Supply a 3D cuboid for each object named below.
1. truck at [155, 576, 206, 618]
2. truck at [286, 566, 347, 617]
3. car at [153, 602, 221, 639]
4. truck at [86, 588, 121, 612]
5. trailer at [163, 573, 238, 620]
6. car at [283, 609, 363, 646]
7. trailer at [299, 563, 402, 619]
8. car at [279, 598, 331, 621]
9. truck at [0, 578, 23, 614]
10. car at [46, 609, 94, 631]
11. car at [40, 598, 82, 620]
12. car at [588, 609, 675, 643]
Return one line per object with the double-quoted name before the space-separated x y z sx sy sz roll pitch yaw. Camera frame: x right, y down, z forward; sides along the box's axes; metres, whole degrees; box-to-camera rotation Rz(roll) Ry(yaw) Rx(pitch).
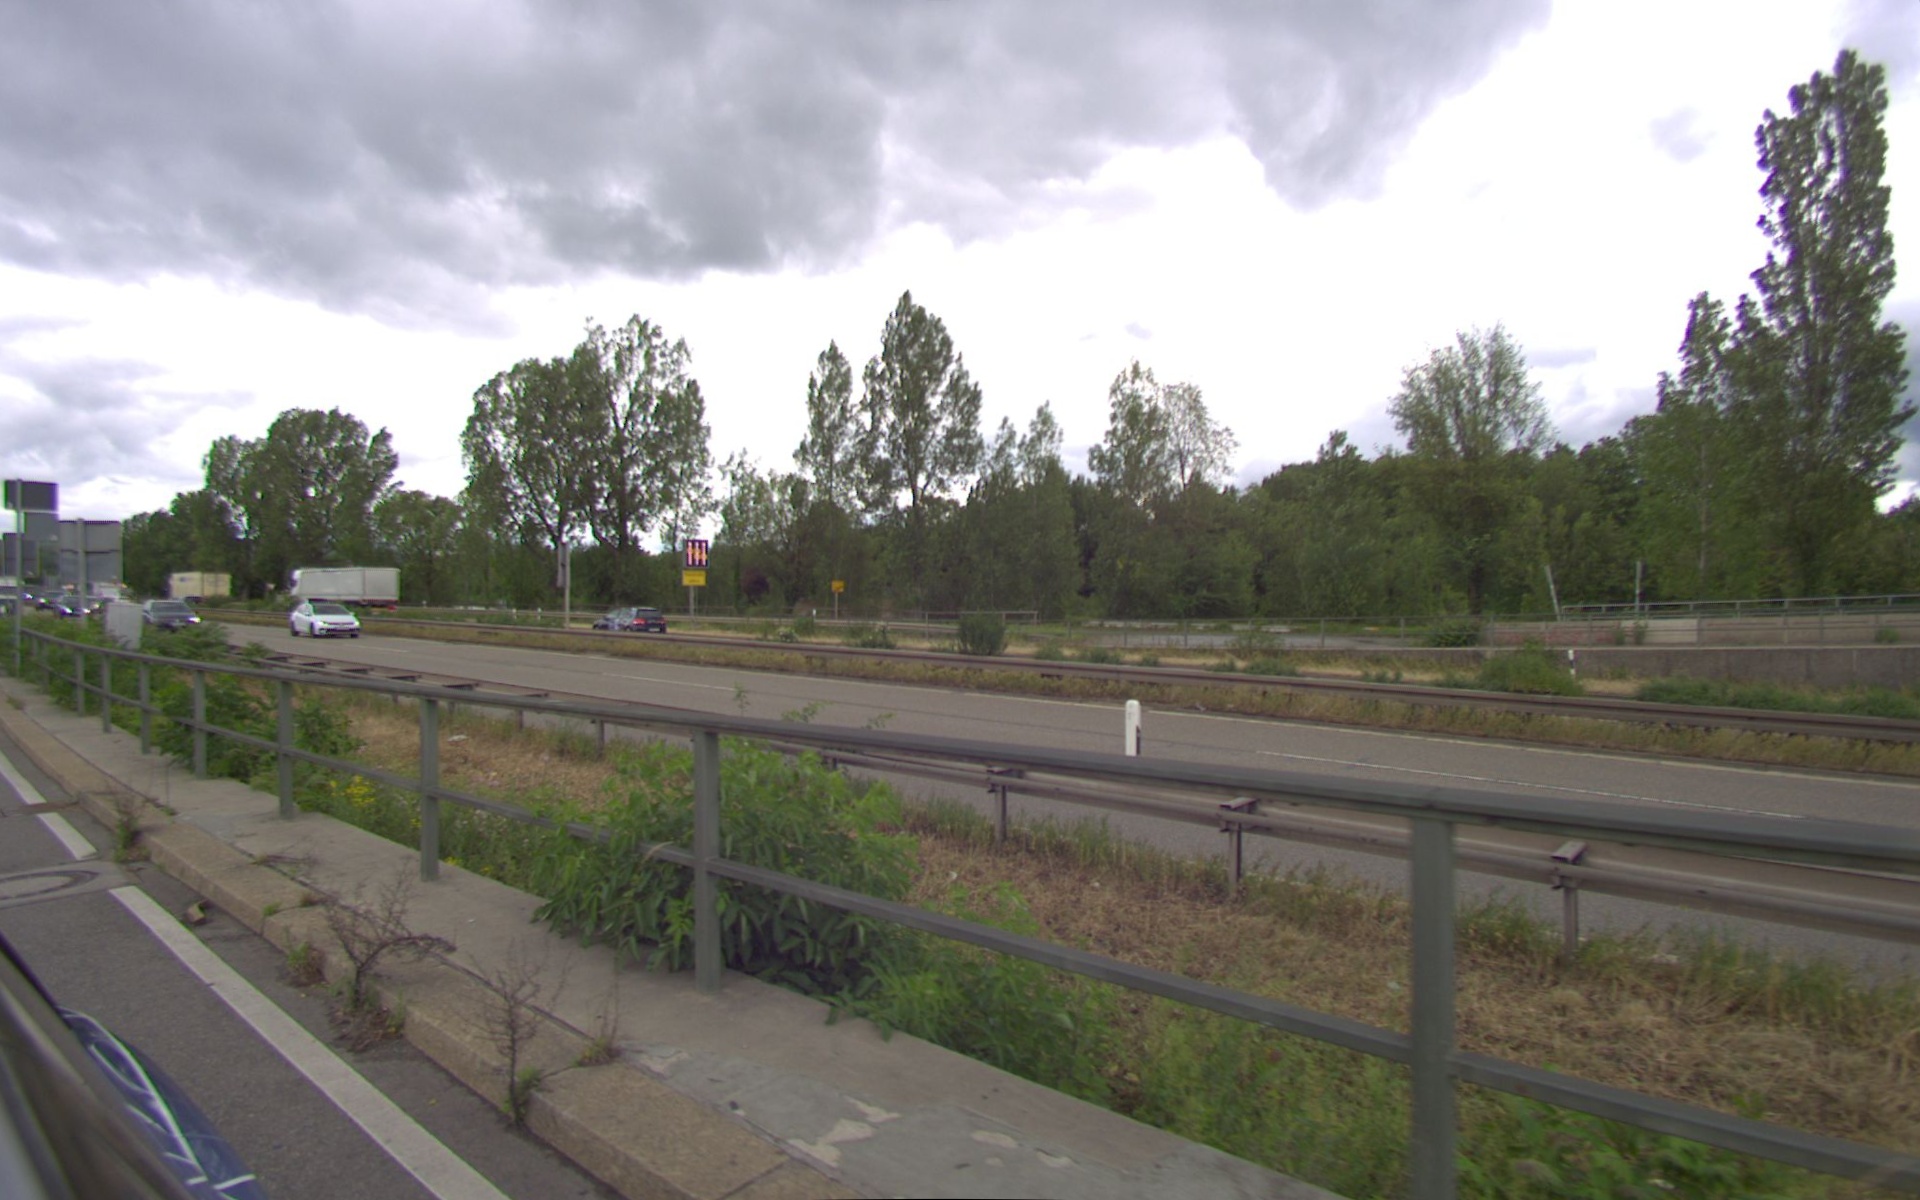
"truck" -88.188 -0.327 114.477 6.207 4.708 3.428 0 0 41
"truck" -52.520 -0.705 82.582 5.310 3.966 2.761 0 1 41
"car" -33.813 0.907 44.217 1.912 1.512 4.308 2 -2 -43
"truck" -135.368 0.019 160.018 6.329 3.671 2.954 -1 1 38
"trailer" -82.162 -0.346 109.285 14.773 4.708 3.428 0 0 41
"car" -27.286 1.168 43.325 3.998 1.511 1.835 -1 -1 41
"trailer" -47.045 -0.679 77.797 13.506 3.978 2.761 0 1 41
"car" -46.715 0.645 72.170 3.996 1.533 1.974 0 1 40
"truck" -89.307 -0.387 93.827 7.569 3.182 2.999 1 -1 43
"car" -55.518 1.268 63.119 3.645 1.337 1.706 -1 -1 40
"car" -86.920 0.863 97.824 5.333 2.029 2.073 1 0 39
"car" -14.751 1.136 45.339 3.998 1.446 1.973 -1 -1 41
